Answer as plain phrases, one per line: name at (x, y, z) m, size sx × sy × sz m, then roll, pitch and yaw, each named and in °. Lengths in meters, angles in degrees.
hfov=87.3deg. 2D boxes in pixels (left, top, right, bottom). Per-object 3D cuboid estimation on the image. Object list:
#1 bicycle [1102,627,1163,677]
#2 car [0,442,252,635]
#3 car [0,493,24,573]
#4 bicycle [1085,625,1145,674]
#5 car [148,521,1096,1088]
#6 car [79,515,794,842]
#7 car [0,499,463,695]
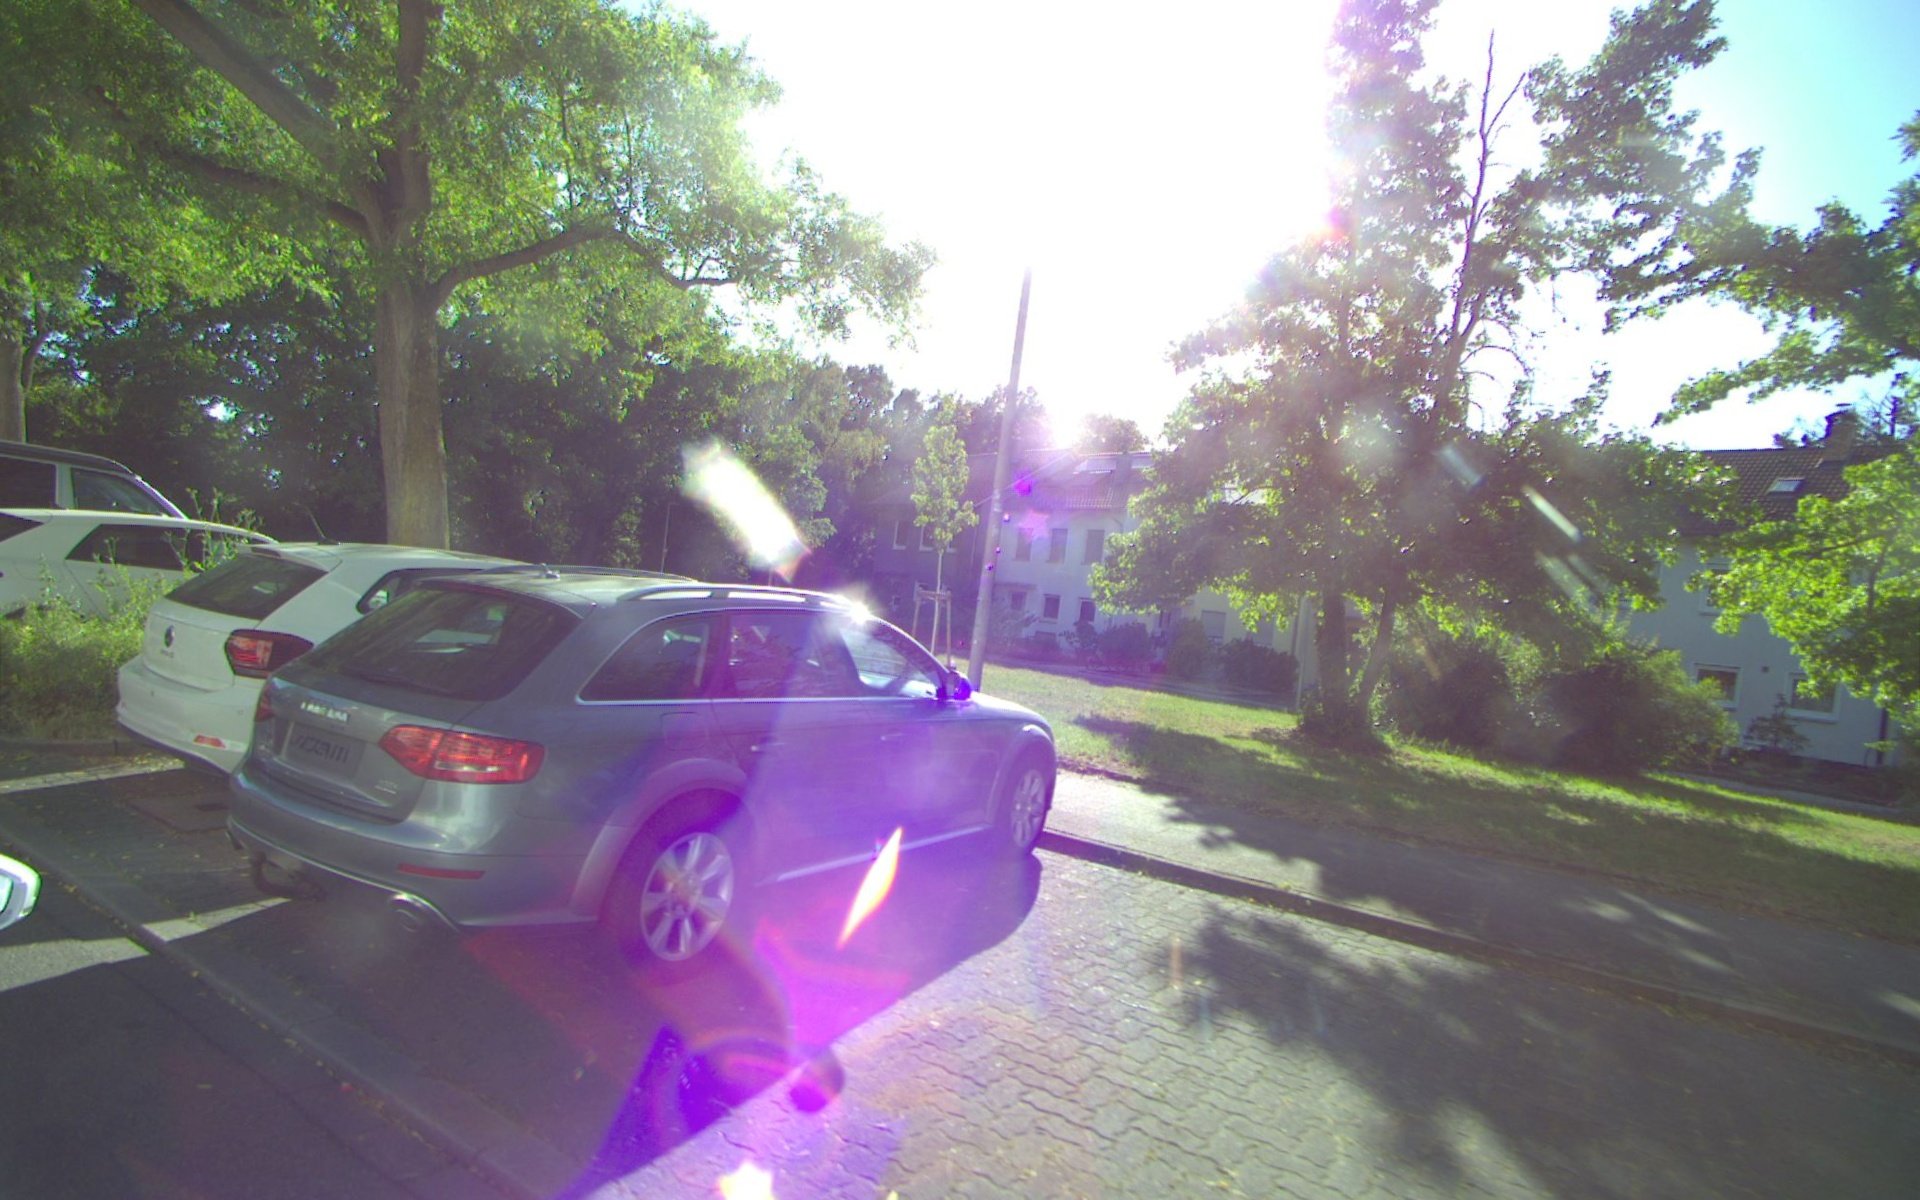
bicycle at (6.047, 1.831, 35.050) m, size 0.811 × 1.460 × 2.913 m, roll 7°, pitch -2°, yaw 34°
car at (-11.290, -0.795, 11.730) m, size 1.989 × 2.042 × 4.452 m, roll 7°, pitch 1°, yaw 34°
car at (-19.387, -1.442, 17.311) m, size 1.746 × 1.432 × 4.454 m, roll 7°, pitch 0°, yaw 33°
bicycle at (5.583, 1.781, 36.014) m, size 0.811 × 1.491 × 2.913 m, roll 7°, pitch -2°, yaw 34°
car at (-1.051, 0.682, 5.177) m, size 1.716 × 1.490 × 4.485 m, roll 7°, pitch 0°, yaw 31°
car at (-3.115, 0.417, 6.766) m, size 1.610 × 1.454 × 3.907 m, roll 7°, pitch 2°, yaw 34°
car at (-6.966, 0.015, 9.264) m, size 1.611 × 1.453 × 3.906 m, roll 7°, pitch 1°, yaw 36°
